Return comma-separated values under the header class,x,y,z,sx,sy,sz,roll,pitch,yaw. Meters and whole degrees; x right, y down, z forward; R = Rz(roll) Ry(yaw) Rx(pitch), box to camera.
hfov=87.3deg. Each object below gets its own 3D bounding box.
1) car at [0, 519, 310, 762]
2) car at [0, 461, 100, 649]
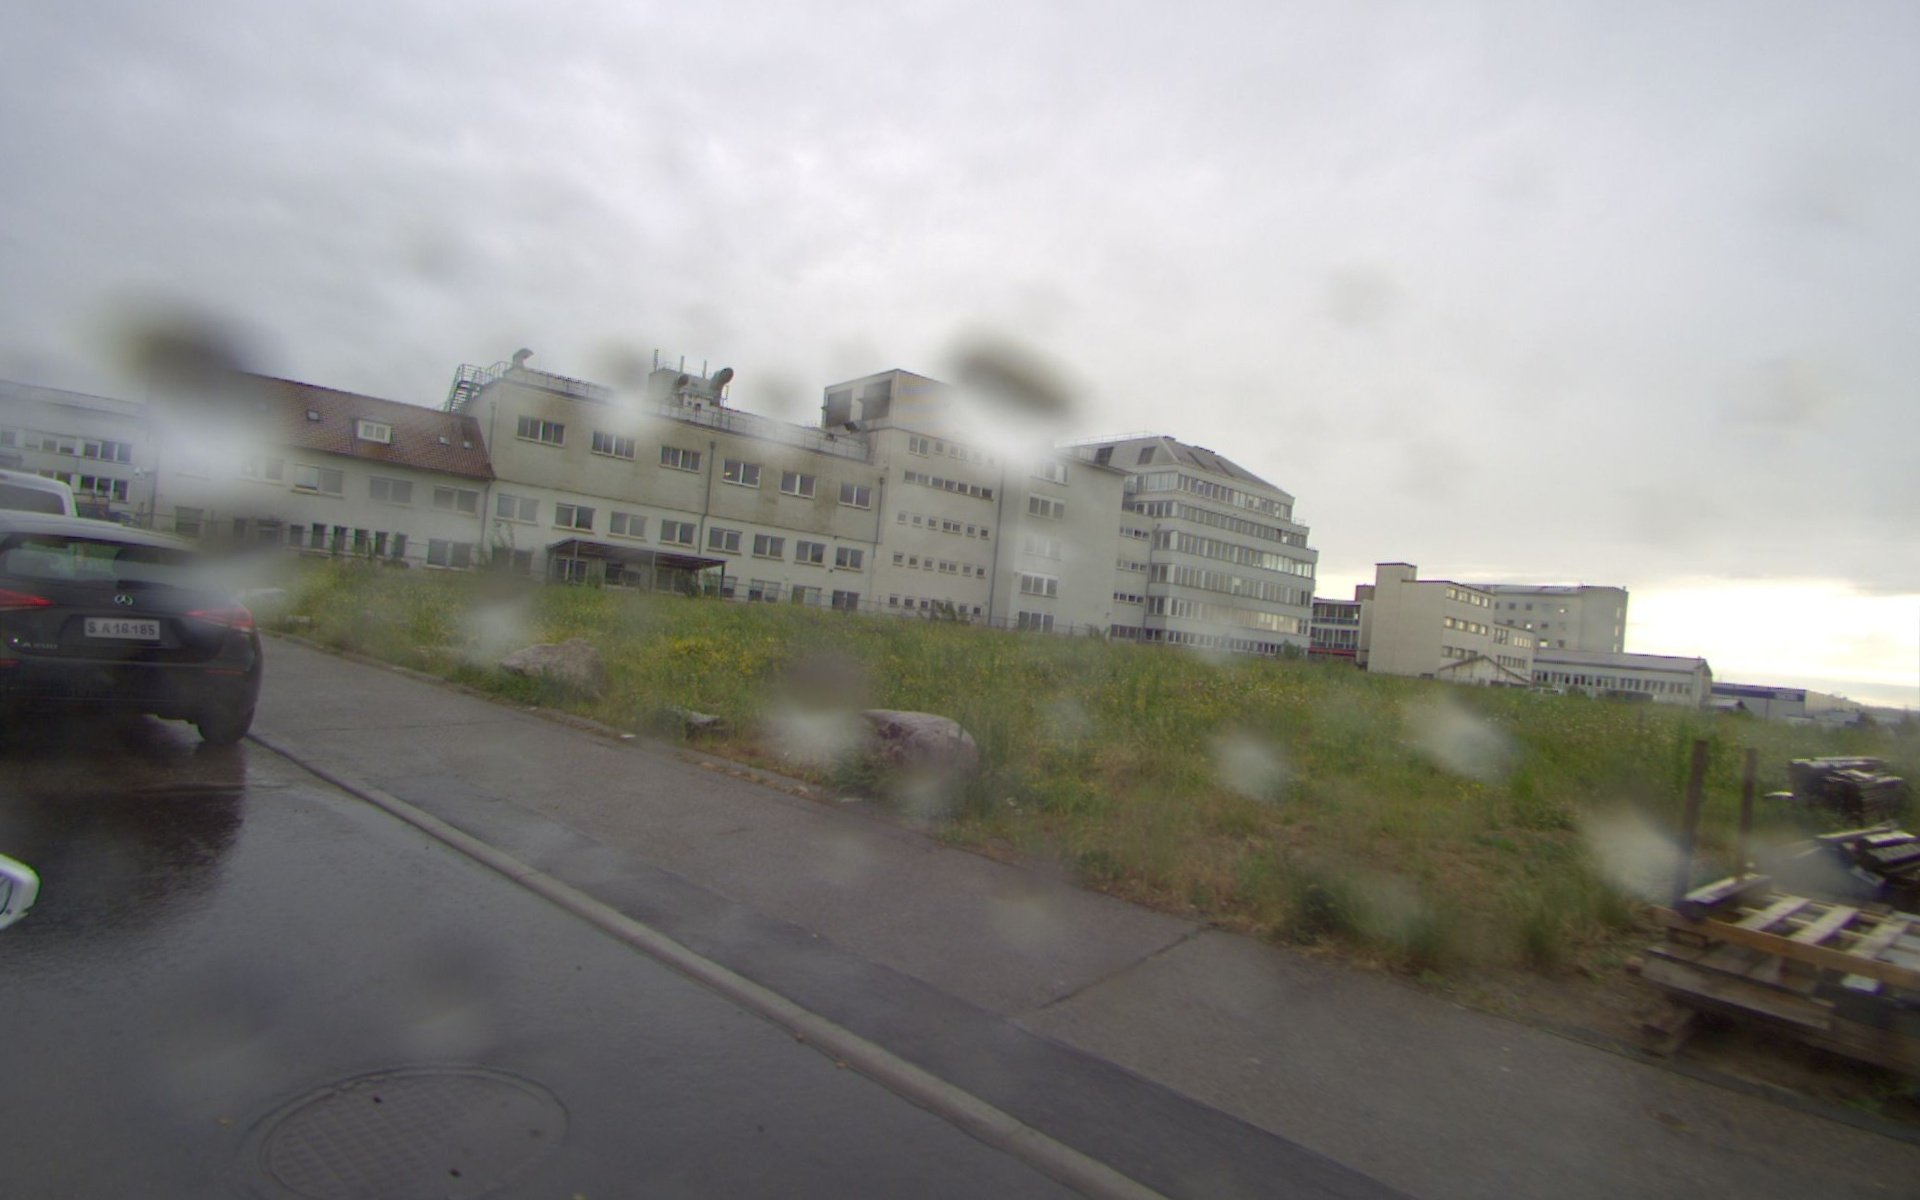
class,x,y,z,sx,sy,sz,roll,pitch,yaw
car,-6.660,0.134,7.361,4.256,1.351,1.769,6,-2,38
car,-11.571,-0.653,11.456,4.508,1.846,1.768,5,-2,39
